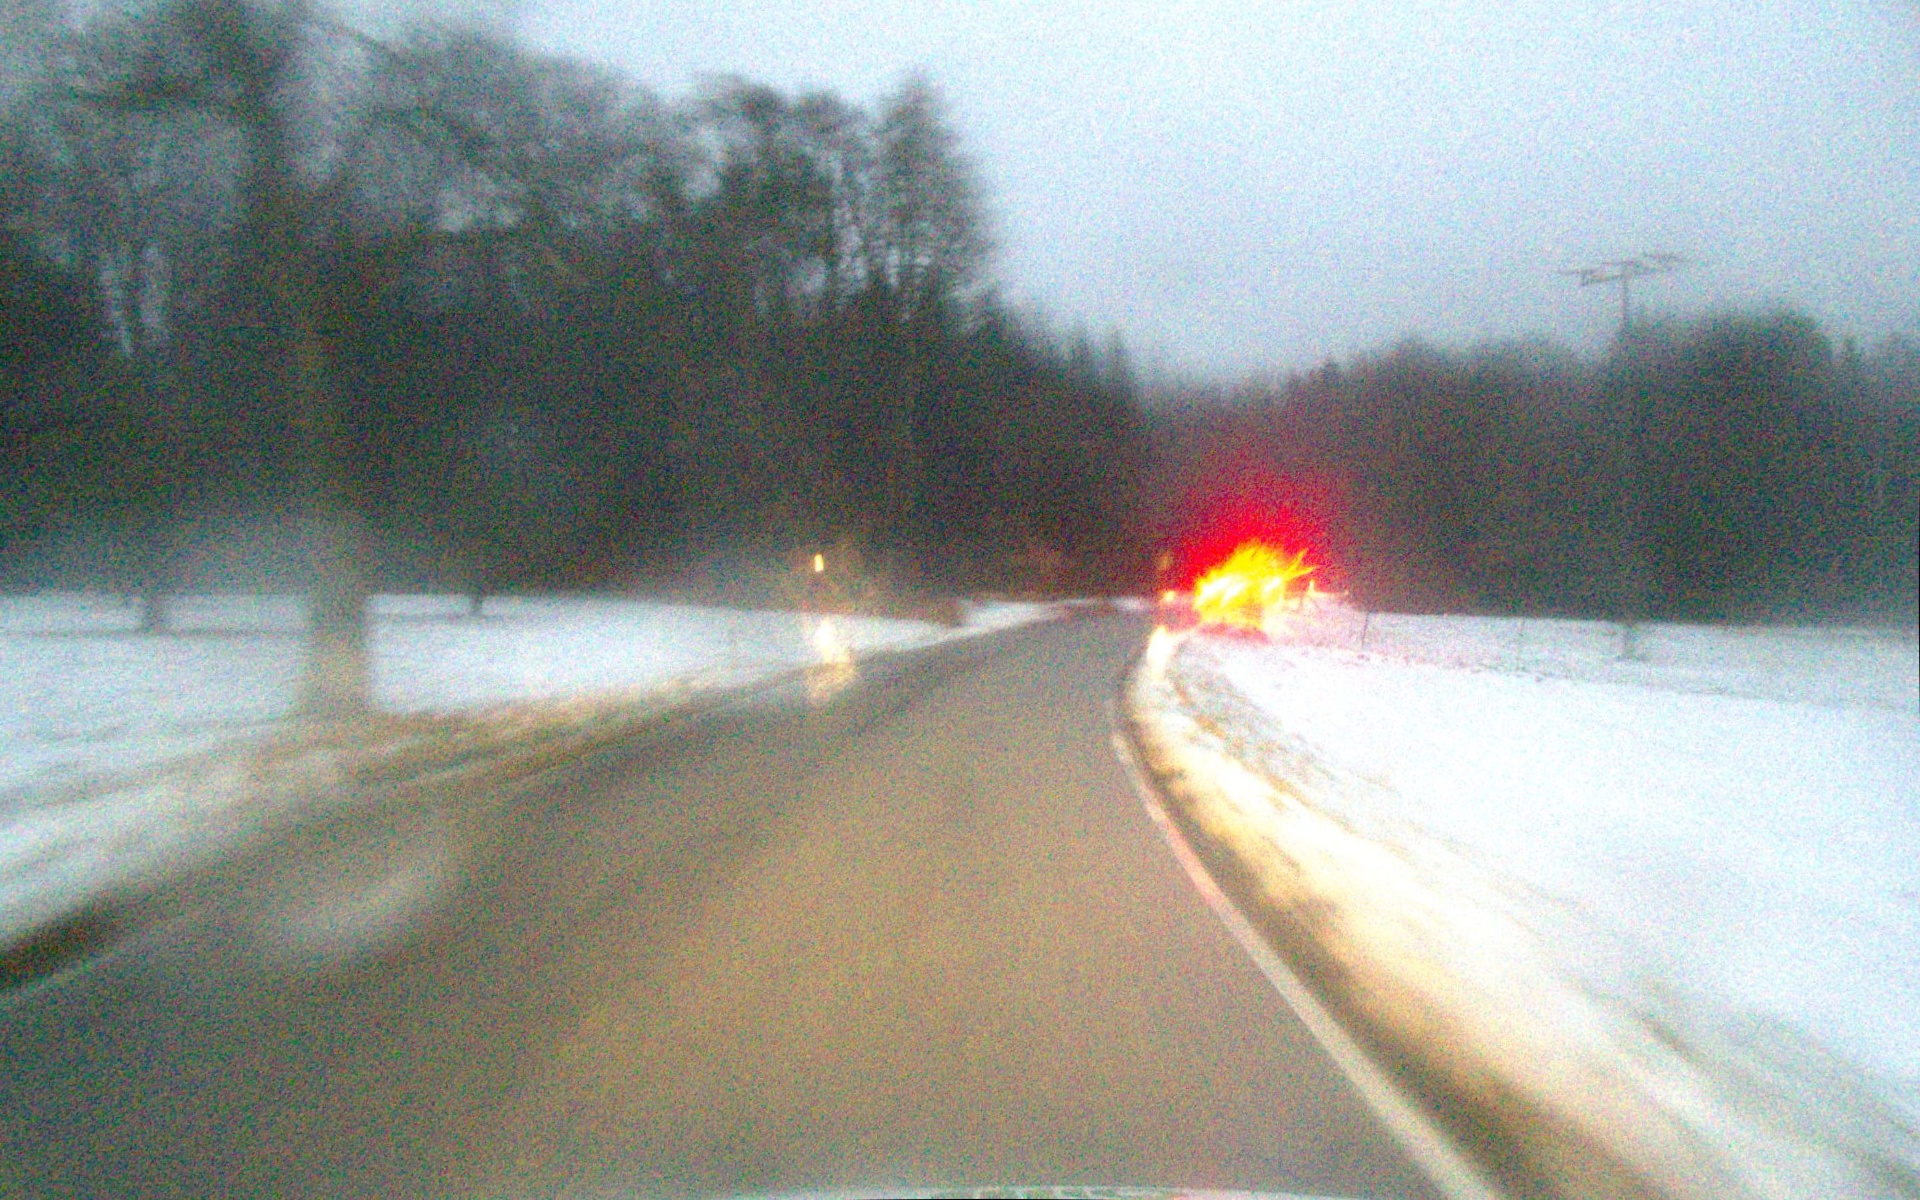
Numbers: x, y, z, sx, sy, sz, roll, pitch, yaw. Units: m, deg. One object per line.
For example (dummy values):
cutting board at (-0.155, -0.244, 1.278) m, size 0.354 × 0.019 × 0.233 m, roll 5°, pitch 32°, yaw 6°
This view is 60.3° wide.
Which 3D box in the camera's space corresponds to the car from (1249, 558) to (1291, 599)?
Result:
car at (20.745, -1.449, 110.485) m, size 2.205 × 2.691 × 5.009 m, roll 0°, pitch 1°, yaw 17°

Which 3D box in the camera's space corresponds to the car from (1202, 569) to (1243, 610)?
car at (14.275, -0.594, 89.808) m, size 1.951 × 2.087 × 4.004 m, roll 2°, pitch 2°, yaw 11°
